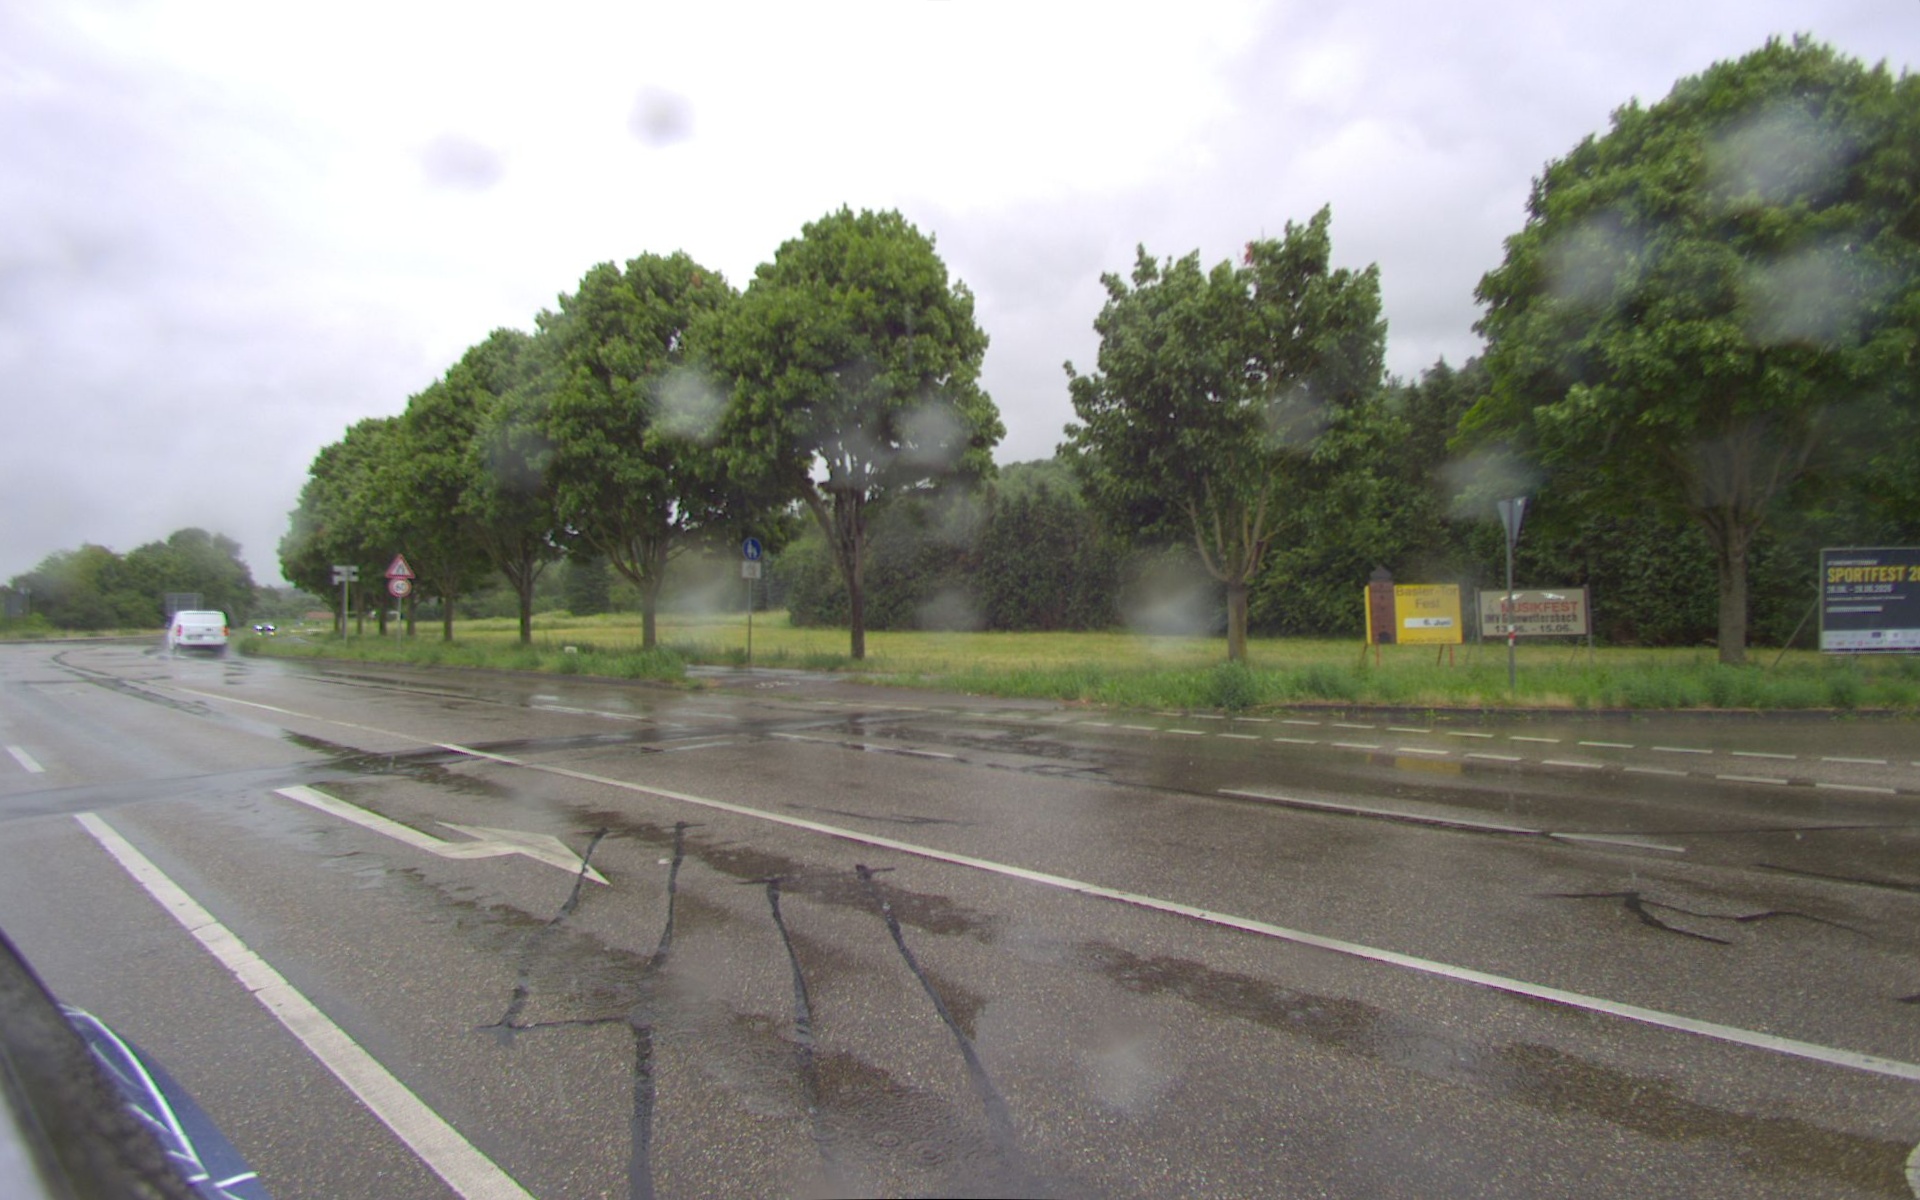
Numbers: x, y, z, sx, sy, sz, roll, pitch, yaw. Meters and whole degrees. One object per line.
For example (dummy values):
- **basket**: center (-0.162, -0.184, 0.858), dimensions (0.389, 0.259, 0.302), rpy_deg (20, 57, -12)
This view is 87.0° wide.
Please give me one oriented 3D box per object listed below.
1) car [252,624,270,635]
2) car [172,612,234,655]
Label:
- **car**: center (-101.075, 4.230, 146.375), dimensions (1.887, 1.597, 4.111), rpy_deg (0, -1, -38)
- **car**: center (-35.046, 1.513, 46.798), dimensions (2.080, 1.907, 4.799), rpy_deg (0, -1, -39)
